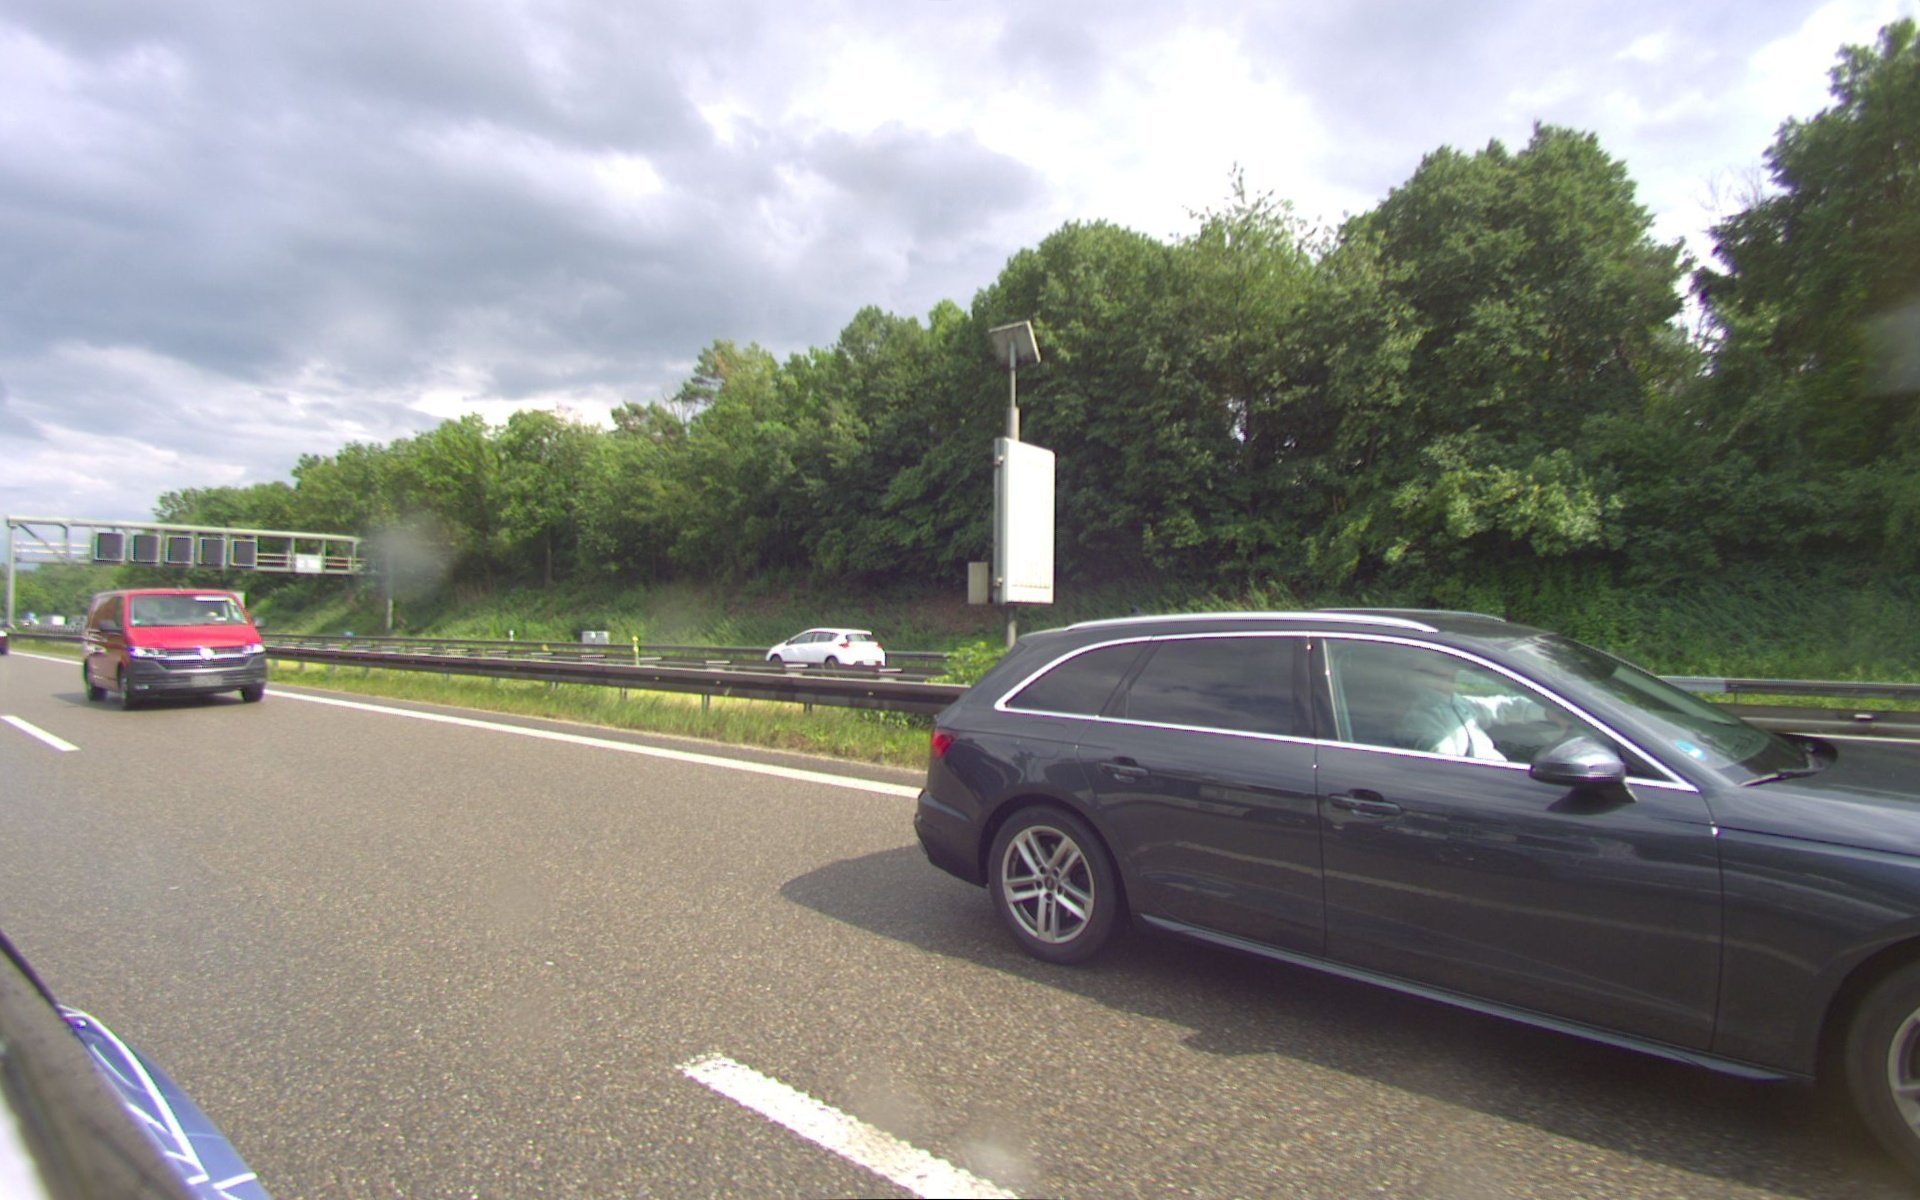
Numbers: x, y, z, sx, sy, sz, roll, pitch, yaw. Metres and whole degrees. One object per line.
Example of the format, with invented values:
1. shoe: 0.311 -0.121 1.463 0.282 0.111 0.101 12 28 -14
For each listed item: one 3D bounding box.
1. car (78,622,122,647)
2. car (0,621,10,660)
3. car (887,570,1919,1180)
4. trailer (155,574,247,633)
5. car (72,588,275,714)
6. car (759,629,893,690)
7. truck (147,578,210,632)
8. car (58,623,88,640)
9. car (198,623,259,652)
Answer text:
1. car: -60.071 2.371 70.658 4.233 1.675 1.714 -1 0 40
2. car: -39.809 1.609 40.637 4.837 1.508 1.983 -1 0 41
3. car: 2.062 0.650 3.721 4.837 1.429 1.775 -1 0 41
4. trailer: -60.659 0.346 80.663 14.083 4.406 2.834 -1 0 41
5. car: -13.627 0.785 17.427 4.837 1.880 1.902 -1 0 41
6. car: -4.164 1.780 31.122 4.233 1.675 1.714 -1 0 40
7. truck: -65.648 0.425 84.945 6.864 4.406 2.834 -1 0 40
8. car: -89.519 3.156 102.171 4.233 1.675 1.682 -1 0 40
9. car: -45.367 2.266 62.726 4.695 1.675 1.996 -1 0 40
